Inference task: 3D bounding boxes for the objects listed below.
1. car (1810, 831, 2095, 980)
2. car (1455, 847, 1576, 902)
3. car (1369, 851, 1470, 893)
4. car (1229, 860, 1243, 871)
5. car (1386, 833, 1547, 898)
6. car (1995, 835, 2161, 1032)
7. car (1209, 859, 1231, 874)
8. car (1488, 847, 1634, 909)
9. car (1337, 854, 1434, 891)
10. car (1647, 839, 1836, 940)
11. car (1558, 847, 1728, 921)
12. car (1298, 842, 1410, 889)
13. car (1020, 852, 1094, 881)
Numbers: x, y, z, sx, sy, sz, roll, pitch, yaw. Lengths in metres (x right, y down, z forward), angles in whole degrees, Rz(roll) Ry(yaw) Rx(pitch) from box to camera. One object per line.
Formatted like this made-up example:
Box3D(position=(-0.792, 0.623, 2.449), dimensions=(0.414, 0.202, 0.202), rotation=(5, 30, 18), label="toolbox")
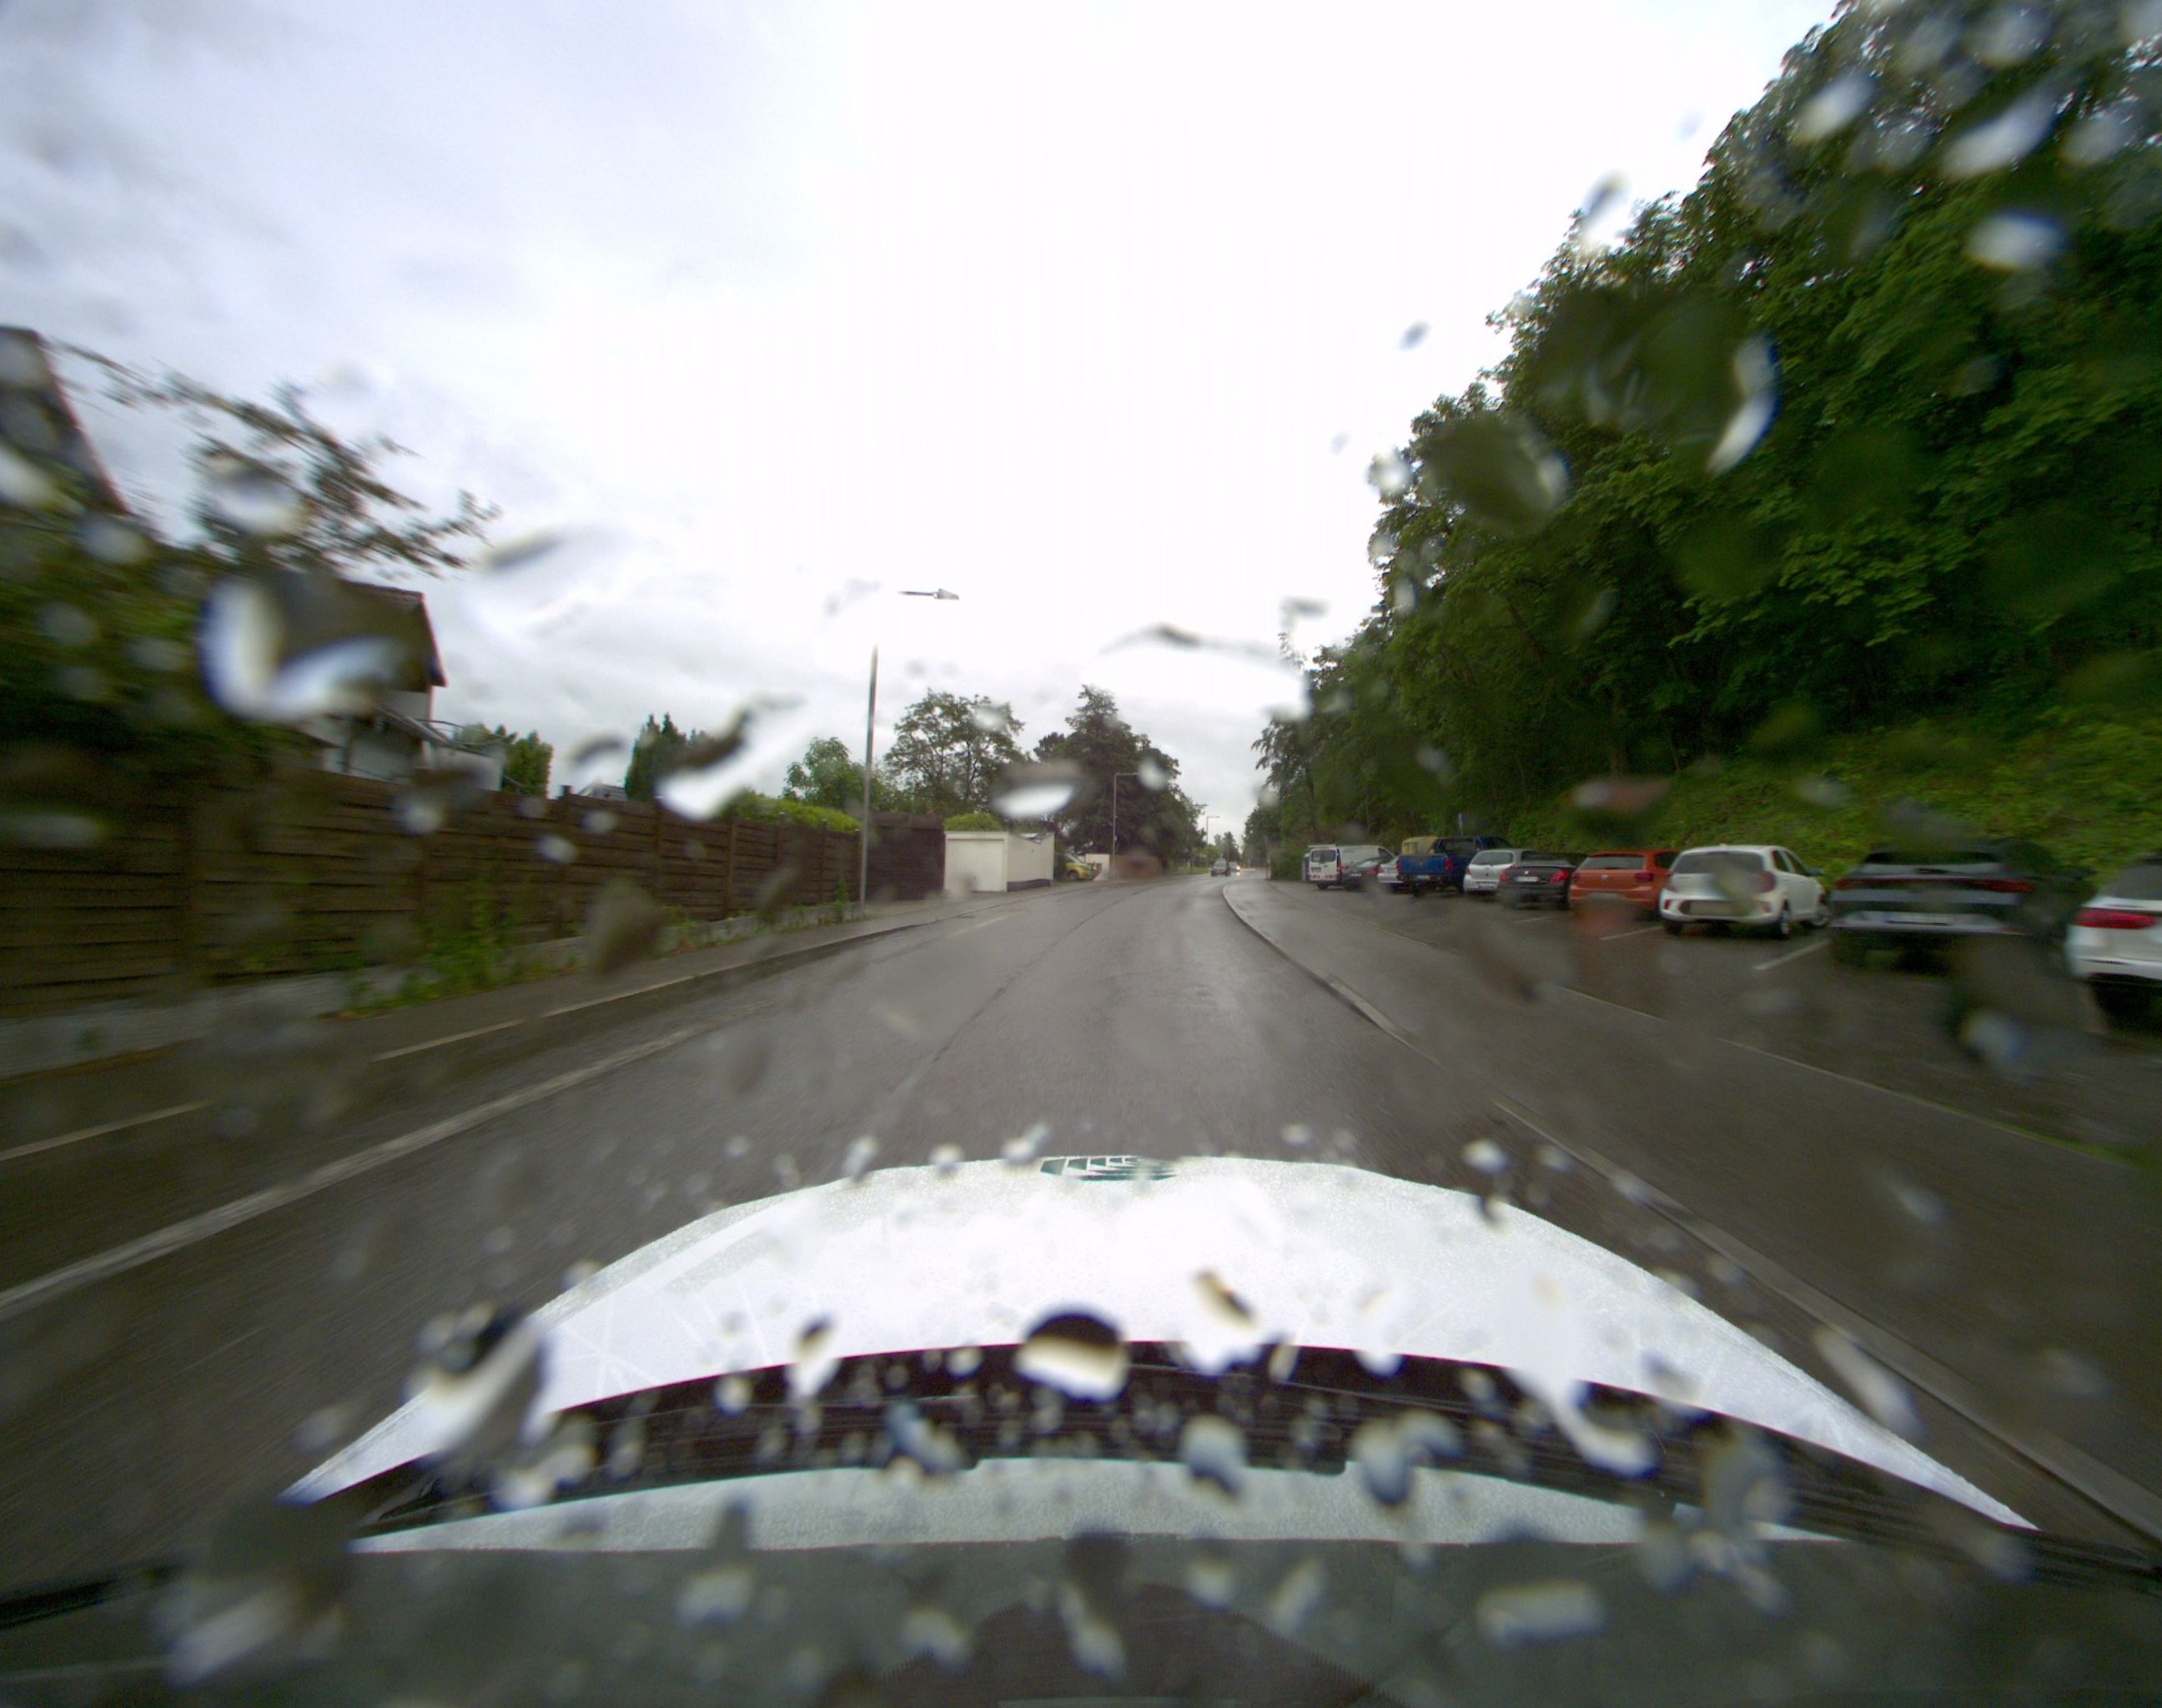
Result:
Box3D(position=(11.084, 0.517, 10.297), dimensions=(4.106, 1.507, 1.734), rotation=(-2, 0, -33), label="car")
Box3D(position=(12.953, 0.560, 24.212), dimensions=(3.930, 1.486, 1.601), rotation=(-1, -1, -36), label="car")
Box3D(position=(12.679, 0.645, 30.396), dimensions=(4.012, 1.413, 1.608), rotation=(-1, -1, -36), label="car")
Box3D(position=(21.936, 1.570, 115.196), dimensions=(1.822, 1.511, 4.183), rotation=(0, -1, 12), label="car")
Box3D(position=(12.918, 0.343, 27.189), dimensions=(5.502, 1.969, 2.307), rotation=(0, 0, -33), label="car")
Box3D(position=(10.222, 0.566, 7.070), dimensions=(4.321, 1.464, 1.798), rotation=(-2, 0, -24), label="car")
Box3D(position=(15.024, 1.339, 87.817), dimensions=(1.820, 1.511, 4.637), rotation=(-1, -1, 17), label="car")
Box3D(position=(12.227, 0.566, 20.694), dimensions=(3.858, 1.402, 1.699), rotation=(-1, -1, -34), label="car")
Box3D(position=(12.141, 0.716, 32.423), dimensions=(3.811, 1.348, 1.743), rotation=(-1, -1, -35), label="car")
Box3D(position=(11.524, 0.531, 14.139), dimensions=(3.814, 1.480, 1.732), rotation=(-2, 0, -38), label="car")
Box3D(position=(12.166, 0.582, 17.584), dimensions=(3.810, 1.402, 1.699), rotation=(-1, -1, -34), label="car")
Box3D(position=(12.071, 0.476, 35.927), dimensions=(4.861, 1.940, 2.134), rotation=(-1, 0, -34), label="car")
Box3D(position=(-1.572, 0.830, 54.285), dimensions=(4.469, 1.860, 2.098), rotation=(-1, 0, 16), label="car")
